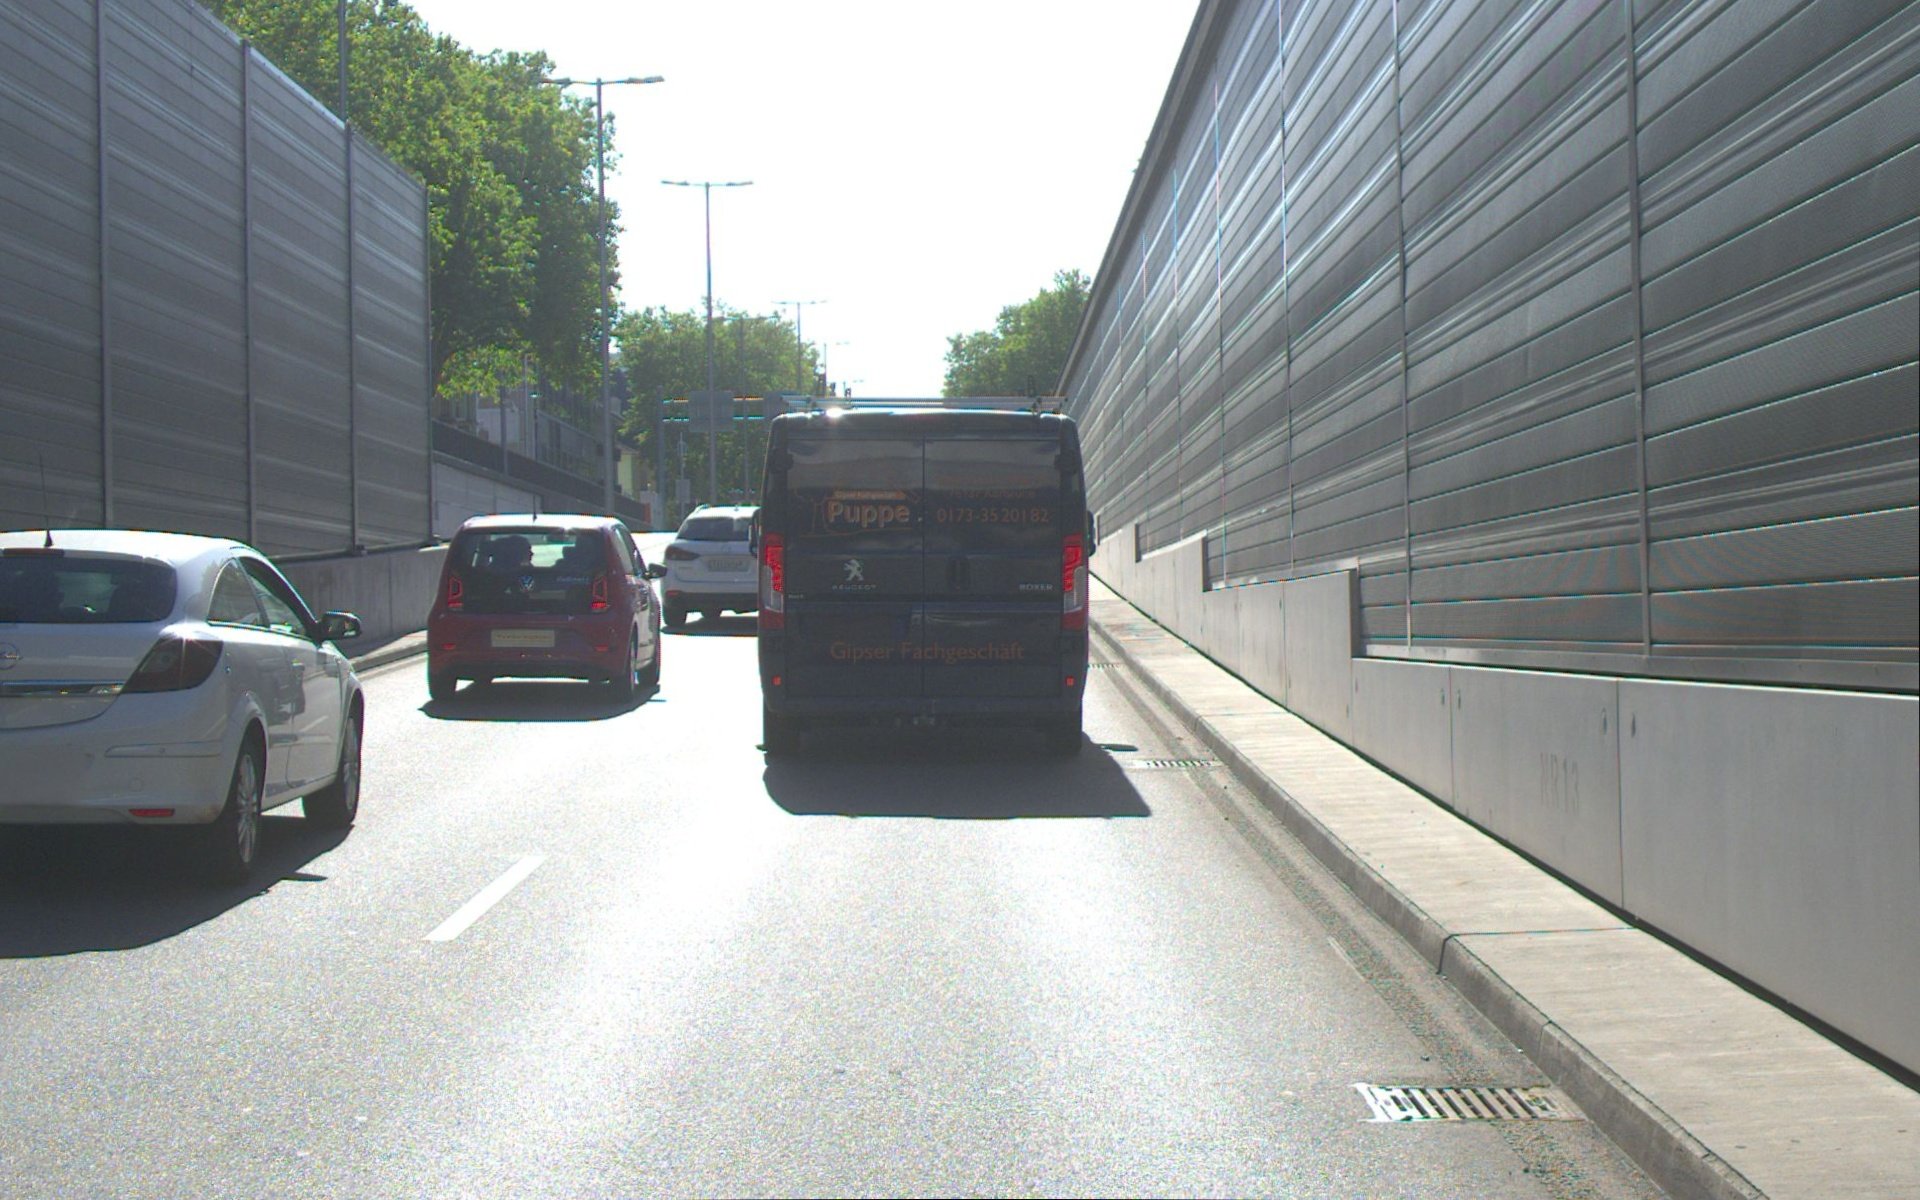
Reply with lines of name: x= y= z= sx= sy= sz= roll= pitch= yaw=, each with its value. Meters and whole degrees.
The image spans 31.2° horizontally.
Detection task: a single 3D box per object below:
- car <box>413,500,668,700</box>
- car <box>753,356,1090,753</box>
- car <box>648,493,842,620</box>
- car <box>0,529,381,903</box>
car: x=-3.360 y=-0.048 z=28.047 sx=1.689 sy=1.478 sz=3.319 roll=1 pitch=2 yaw=0
car: x=-0.228 y=-0.321 z=22.758 sx=2.030 sy=2.394 sz=3.973 roll=0 pitch=1 yaw=0
car: x=-2.615 y=-0.573 z=42.671 sx=1.892 sy=1.469 sz=3.991 roll=1 pitch=2 yaw=4
car: x=-3.675 y=0.405 z=15.095 sx=1.619 sy=1.398 sz=3.852 roll=1 pitch=1 yaw=0
